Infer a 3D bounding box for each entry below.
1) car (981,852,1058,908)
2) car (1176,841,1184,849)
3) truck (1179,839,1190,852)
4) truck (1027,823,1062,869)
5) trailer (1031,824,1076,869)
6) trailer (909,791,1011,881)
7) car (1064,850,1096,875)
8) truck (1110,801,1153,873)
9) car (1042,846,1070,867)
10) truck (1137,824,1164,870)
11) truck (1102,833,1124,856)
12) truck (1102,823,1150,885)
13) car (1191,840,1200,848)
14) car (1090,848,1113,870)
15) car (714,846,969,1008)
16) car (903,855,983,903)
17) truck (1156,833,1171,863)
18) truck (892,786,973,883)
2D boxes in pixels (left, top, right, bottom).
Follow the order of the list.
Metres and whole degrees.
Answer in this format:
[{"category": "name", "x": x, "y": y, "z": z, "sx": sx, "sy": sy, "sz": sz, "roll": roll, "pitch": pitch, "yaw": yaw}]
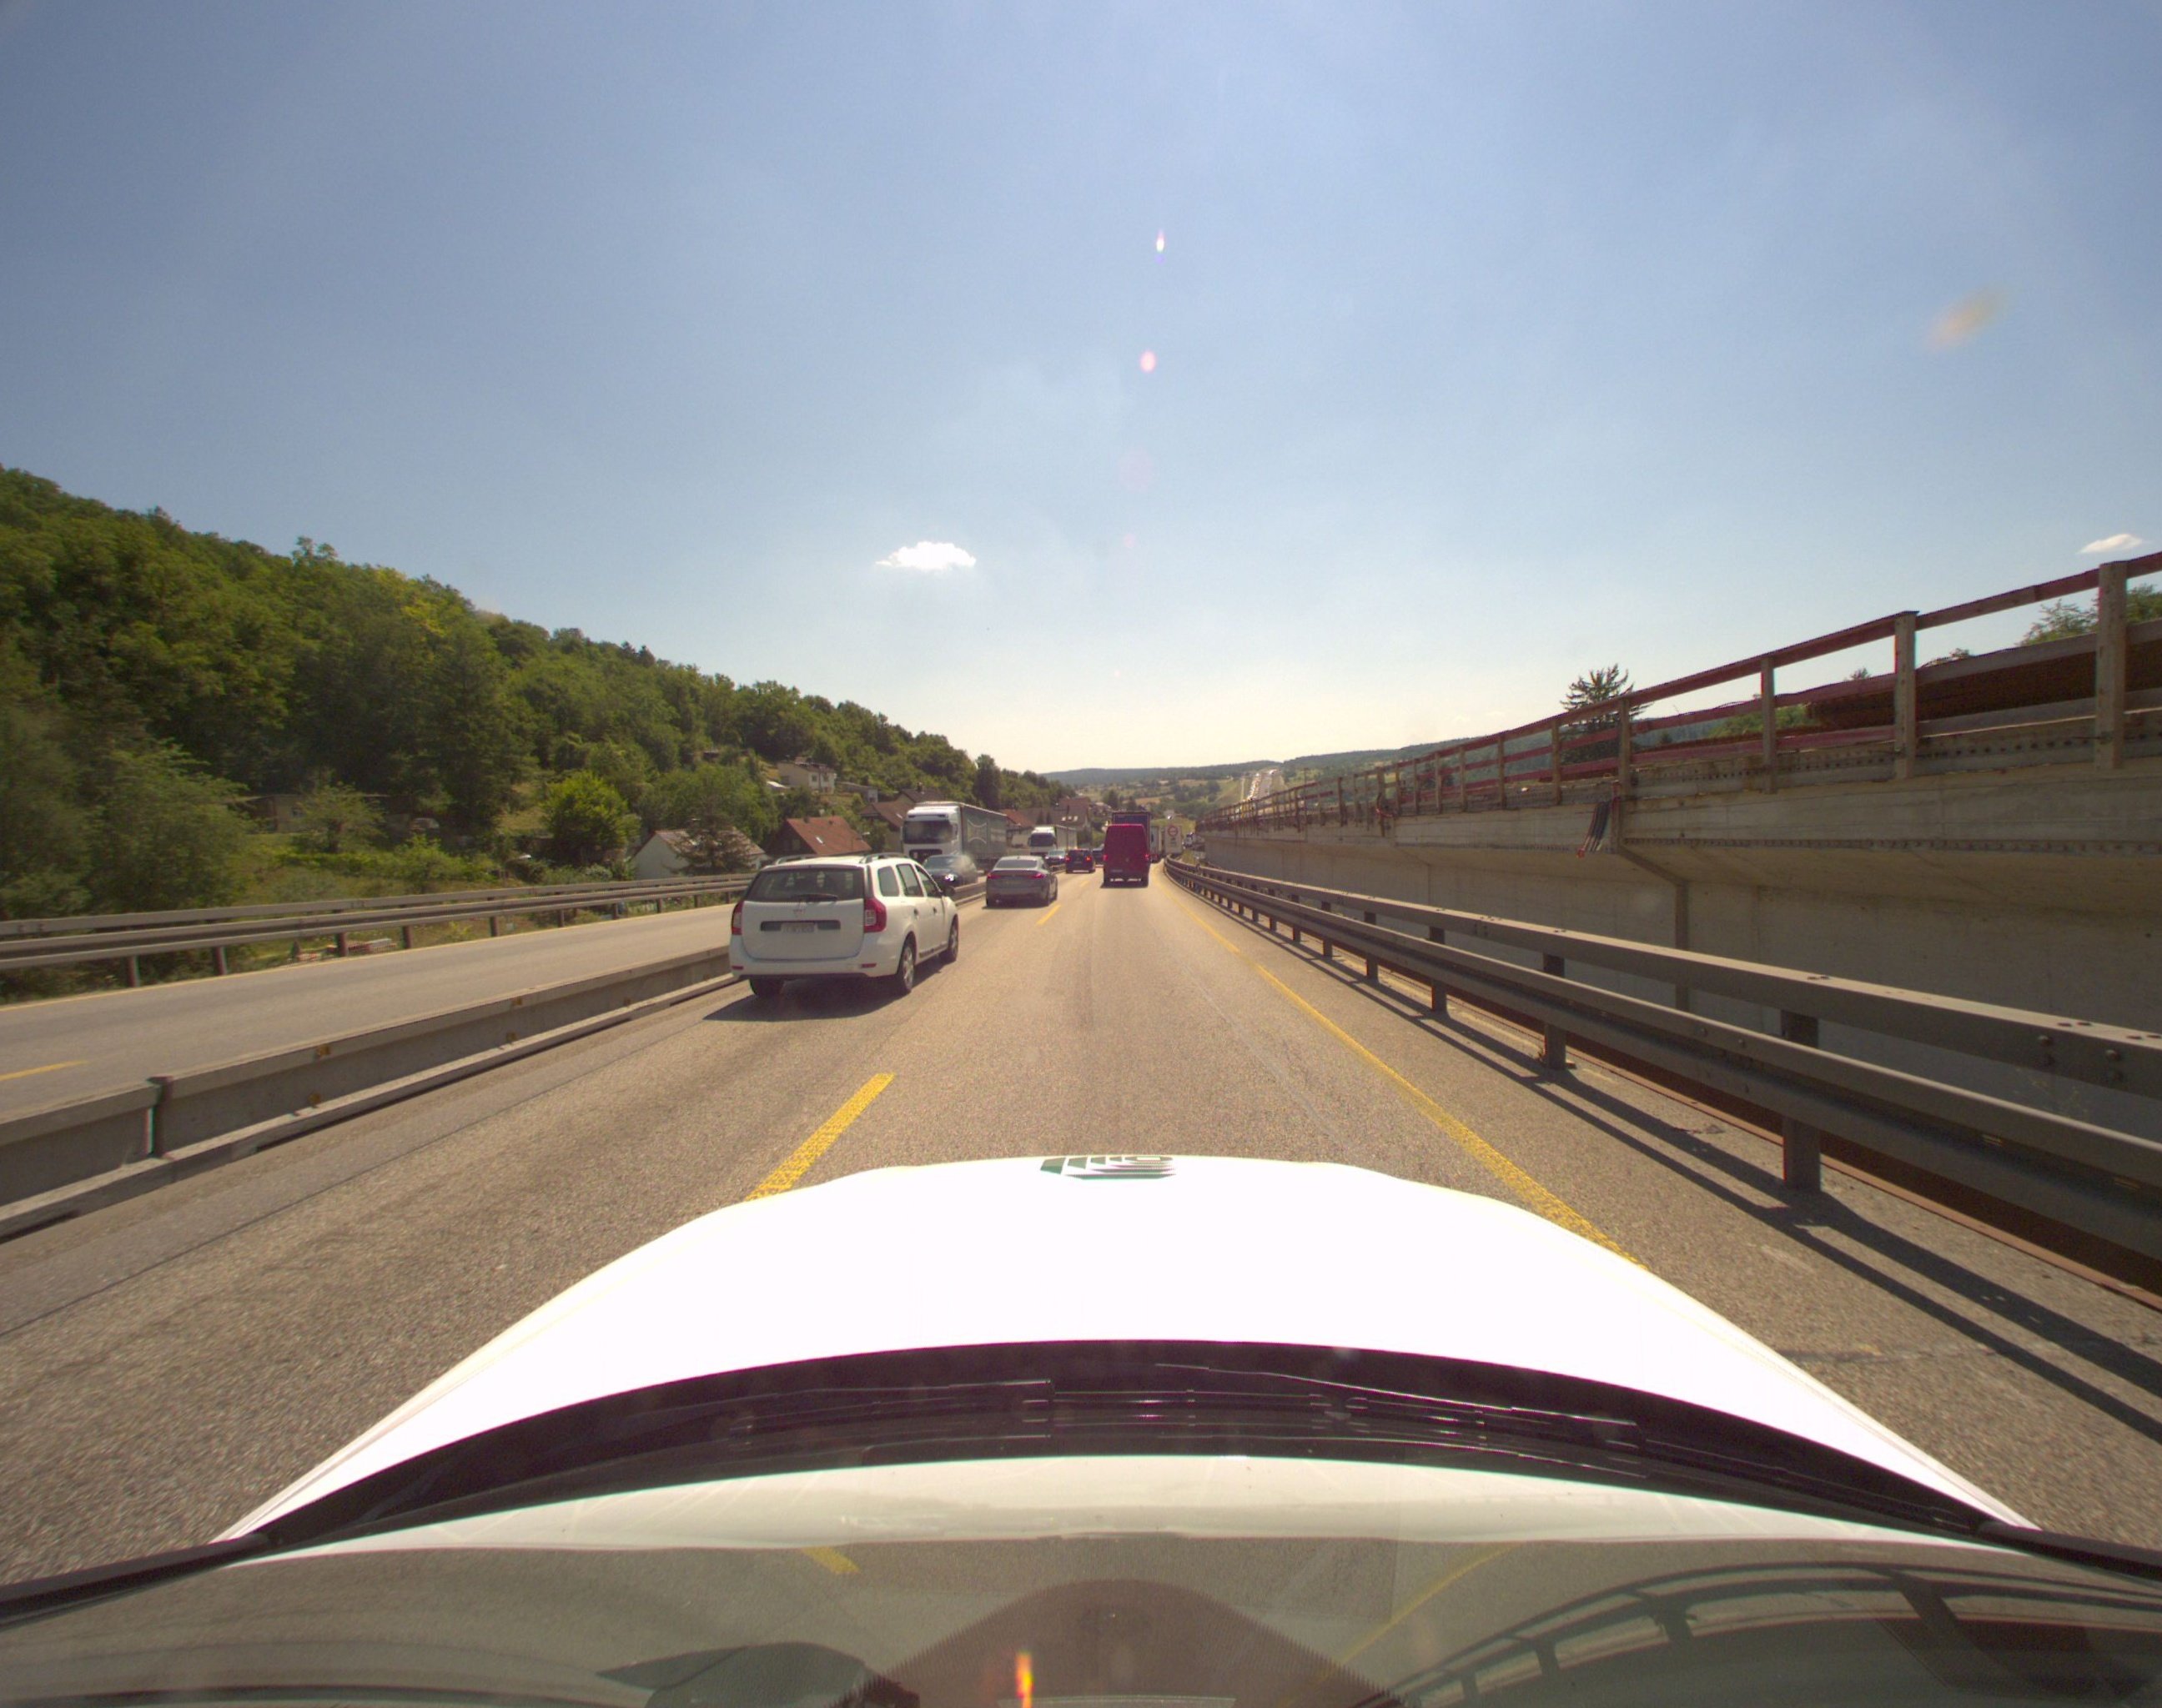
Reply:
[{"category": "car", "x": -1.731, "y": 0.713, "z": 24.132, "sx": 1.787, "sy": 1.485, "sz": 4.052, "roll": -1, "pitch": 0, "yaw": 2}, {"category": "car", "x": 26.070, "y": -2.437, "z": 214.199, "sx": 1.791, "sy": 2.013, "sz": 4.014, "roll": 0, "pitch": 0, "yaw": 13}, {"category": "truck", "x": 13.576, "y": -1.079, "z": 106.483, "sx": 1.308, "sy": 1.542, "sz": 3.156, "roll": -1, "pitch": -1, "yaw": 6}, {"category": "truck", "x": -3.698, "y": -0.780, "z": 84.364, "sx": 2.833, "sy": 4.580, "sz": 5.794, "roll": -1, "pitch": -1, "yaw": 4}, {"category": "trailer", "x": -2.880, "y": -0.690, "z": 91.184, "sx": 2.818, "sy": 4.641, "sz": 14.609, "roll": -1, "pitch": -1, "yaw": 7}, {"category": "trailer", "x": -7.097, "y": -0.991, "z": 50.717, "sx": 3.050, "sy": 4.815, "sz": 14.021, "roll": -1, "pitch": 0, "yaw": 5}, {"category": "car", "x": -0.026, "y": 0.562, "z": 54.831, "sx": 1.801, "sy": 1.608, "sz": 3.724, "roll": -1, "pitch": -1, "yaw": 5}, {"category": "truck", "x": 3.683, "y": -1.077, "z": 59.224, "sx": 2.774, "sy": 4.816, "sz": 9.694, "roll": -1, "pitch": -1, "yaw": 4}, {"category": "car", "x": -2.050, "y": 0.236, "z": 68.893, "sx": 1.948, "sy": 1.681, "sz": 4.118, "roll": -1, "pitch": 0, "yaw": 4}, {"category": "truck", "x": 7.709, "y": -0.726, "z": 90.898, "sx": 2.774, "sy": 4.816, "sz": 9.694, "roll": -1, "pitch": -1, "yaw": 4}, {"category": "truck", "x": 6.108, "y": -1.881, "z": 154.236, "sx": 2.961, "sy": 4.162, "sz": 10.572, "roll": -1, "pitch": 1, "yaw": 9}, {"category": "truck", "x": 1.975, "y": 0.010, "z": 36.103, "sx": 1.985, "sy": 2.578, "sz": 4.003, "roll": -1, "pitch": -1, "yaw": 3}, {"category": "car", "x": 31.410, "y": -2.729, "z": 223.005, "sx": 2.116, "sy": 2.014, "sz": 4.014, "roll": -1, "pitch": -1, "yaw": 13}, {"category": "car", "x": 1.814, "y": 0.444, "z": 71.042, "sx": 1.721, "sy": 1.838, "sz": 4.005, "roll": -1, "pitch": -1, "yaw": 5}, {"category": "car", "x": -2.609, "y": 0.725, "z": 9.999, "sx": 1.645, "sy": 1.483, "sz": 4.269, "roll": -3, "pitch": -1, "yaw": 2}, {"category": "car", "x": -5.071, "y": 0.901, "z": 30.584, "sx": 1.986, "sy": 1.640, "sz": 4.856, "roll": -1, "pitch": -1, "yaw": 2}, {"category": "truck", "x": 12.347, "y": -0.817, "z": 122.137, "sx": 1.982, "sy": 4.381, "sz": 4.009, "roll": -1, "pitch": -1, "yaw": 8}, {"category": "truck", "x": -7.760, "y": -0.972, "z": 43.281, "sx": 3.046, "sy": 4.821, "sz": 4.651, "roll": -1, "pitch": 0, "yaw": 4}]
